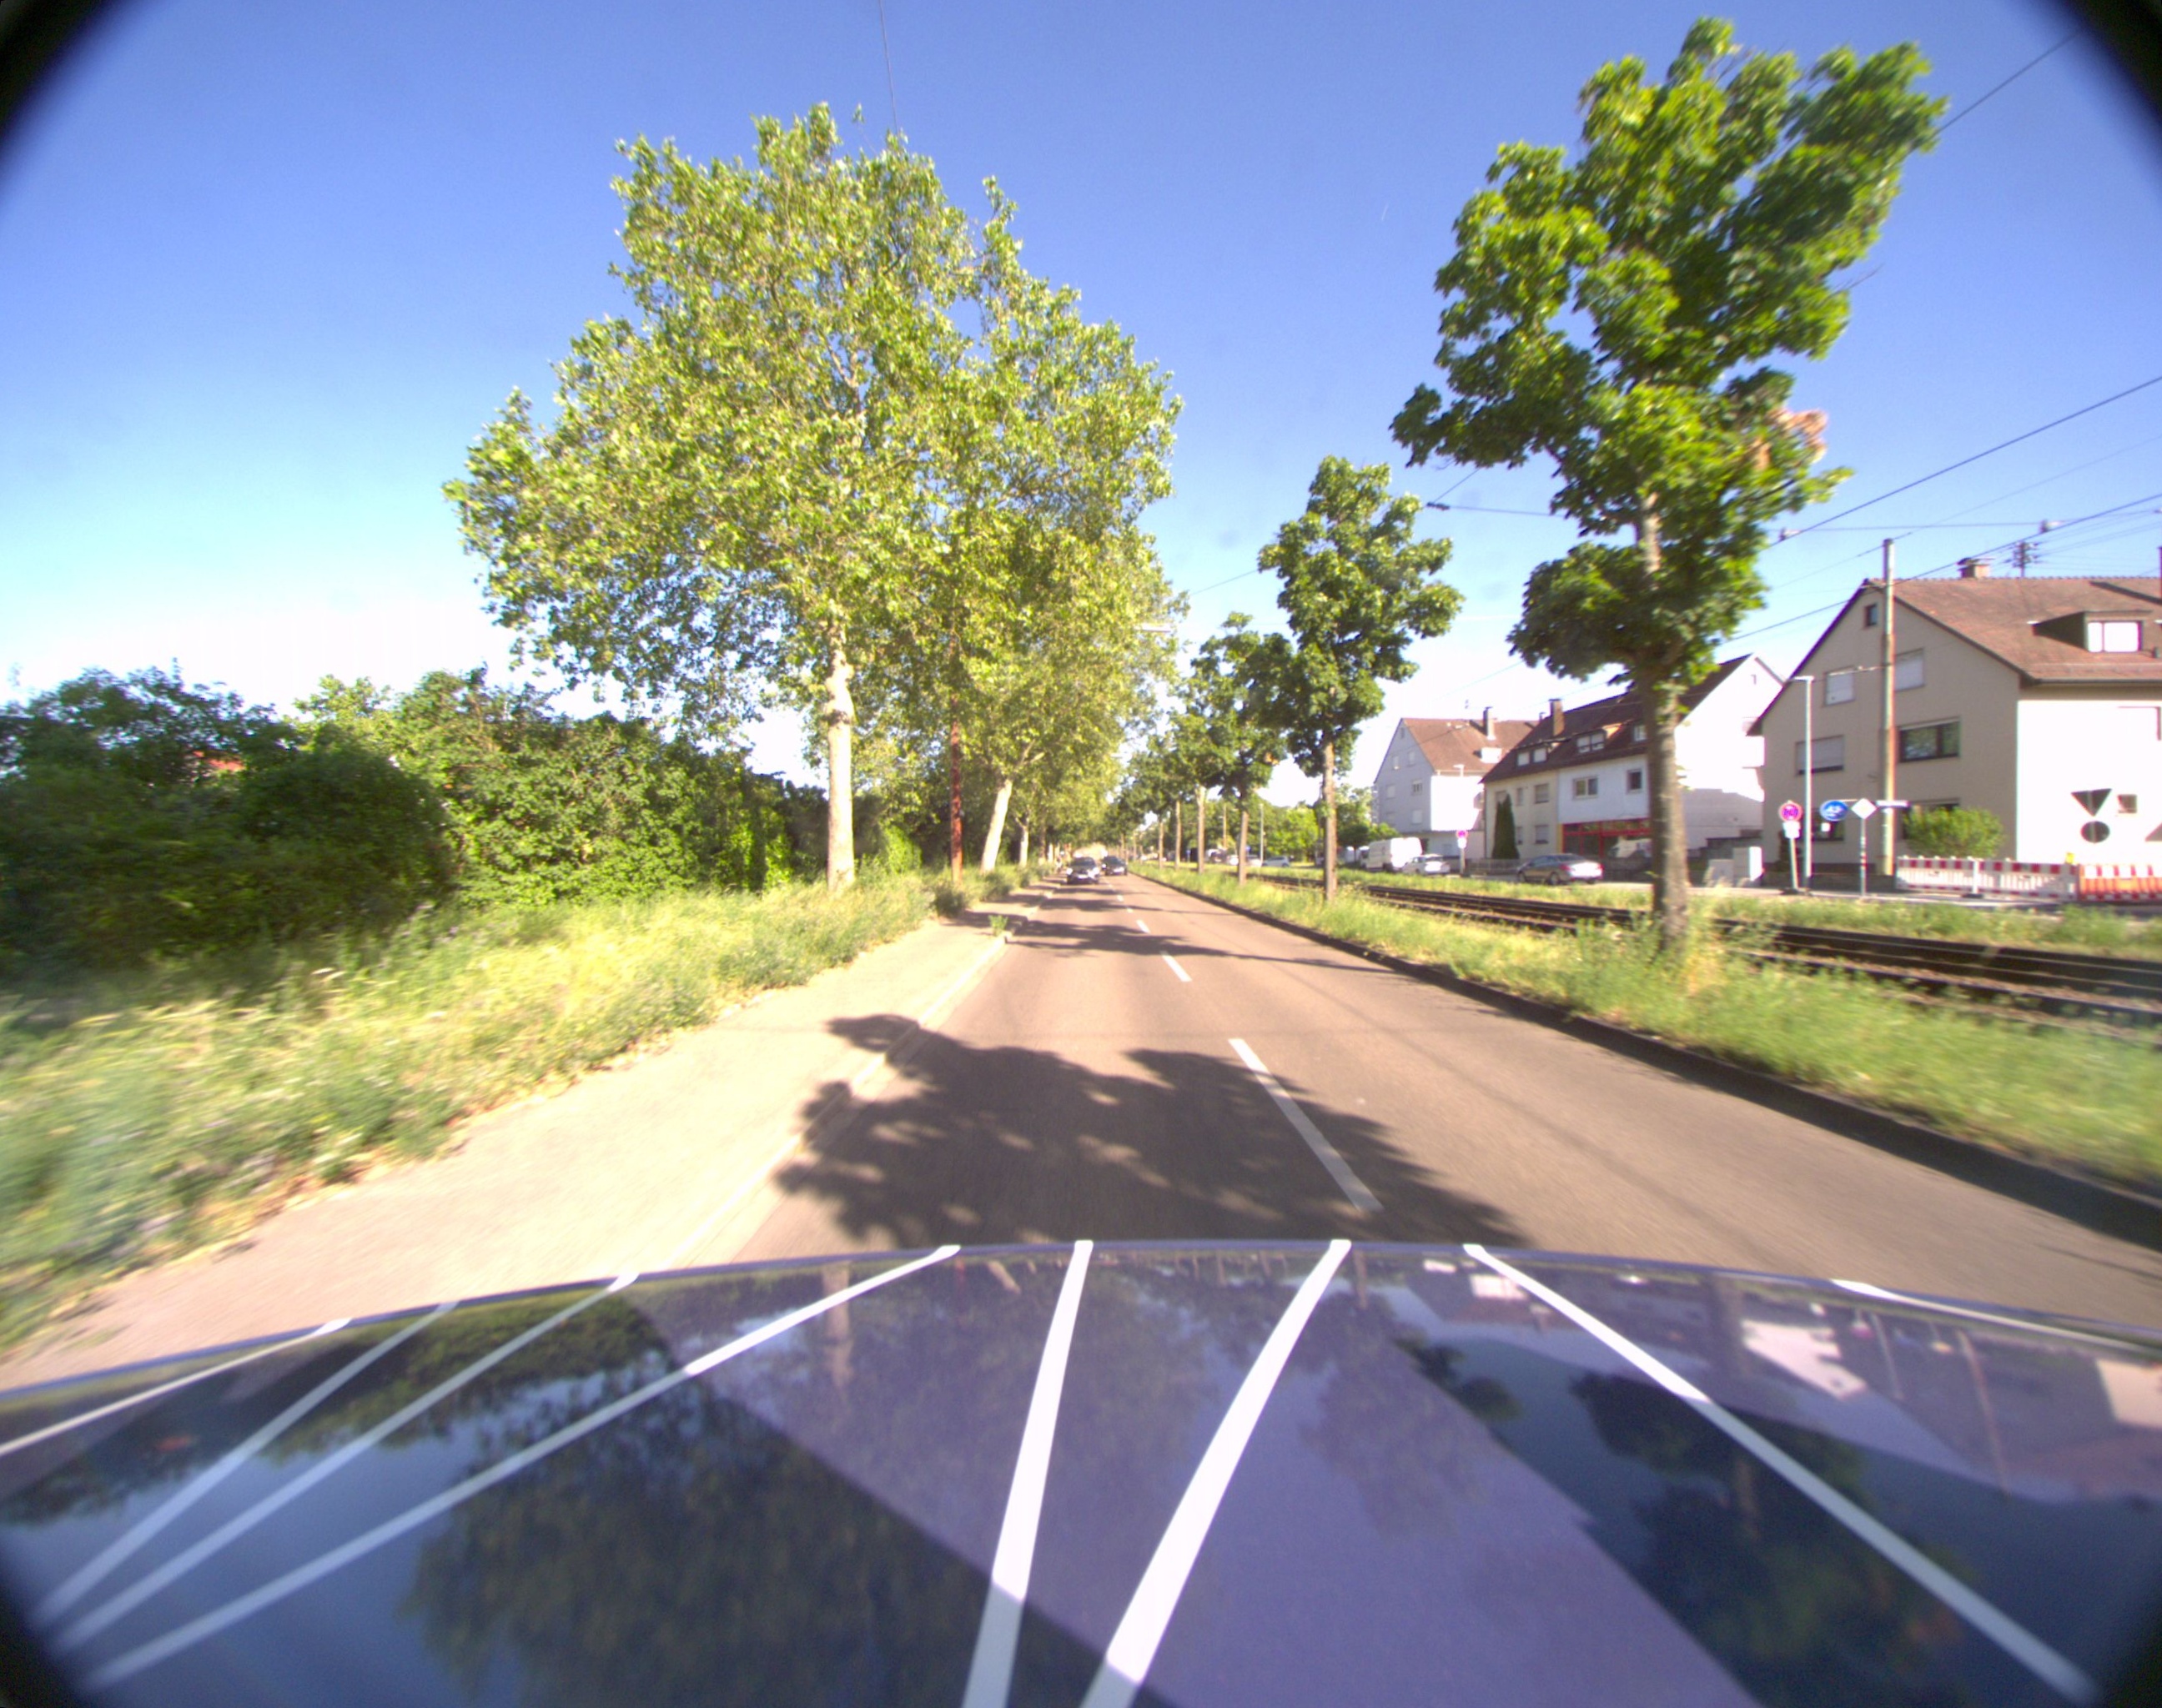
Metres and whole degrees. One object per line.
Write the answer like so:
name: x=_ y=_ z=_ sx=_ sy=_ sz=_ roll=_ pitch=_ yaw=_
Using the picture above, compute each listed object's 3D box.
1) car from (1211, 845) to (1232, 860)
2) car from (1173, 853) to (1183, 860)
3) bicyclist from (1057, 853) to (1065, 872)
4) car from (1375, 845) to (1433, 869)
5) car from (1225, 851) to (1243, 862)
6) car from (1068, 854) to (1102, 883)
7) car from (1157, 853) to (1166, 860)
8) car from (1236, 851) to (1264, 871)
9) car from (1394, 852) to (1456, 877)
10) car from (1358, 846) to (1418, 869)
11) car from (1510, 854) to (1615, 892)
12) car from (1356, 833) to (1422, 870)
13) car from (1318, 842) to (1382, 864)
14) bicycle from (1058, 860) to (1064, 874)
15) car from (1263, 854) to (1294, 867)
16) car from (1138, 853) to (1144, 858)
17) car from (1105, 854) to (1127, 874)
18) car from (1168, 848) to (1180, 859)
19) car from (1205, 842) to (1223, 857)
car: x=23.240 y=-0.214 z=125.809 sx=2.188 sy=2.362 sz=6.464 roll=-2 pitch=1 yaw=1
car: x=23.422 y=0.528 z=183.721 sx=1.626 sy=1.613 sz=4.532 roll=-2 pitch=1 yaw=0
bicyclist: x=-1.671 y=0.691 z=63.248 sx=0.615 sy=1.619 sz=0.909 roll=-1 pitch=1 yaw=1
car: x=27.722 y=0.285 z=65.274 sx=4.151 sy=1.941 sz=1.998 roll=-1 pitch=0 yaw=-10
car: x=22.608 y=0.367 z=112.536 sx=1.827 sy=1.598 sz=4.773 roll=-2 pitch=1 yaw=1
car: x=0.198 y=0.810 z=43.394 sx=1.808 sy=1.478 sz=3.546 roll=-2 pitch=1 yaw=0
car: x=18.478 y=0.539 z=174.715 sx=1.680 sy=1.401 sz=4.000 roll=-1 pitch=0 yaw=1
car: x=17.321 y=0.676 z=77.952 sx=1.920 sy=1.872 sz=4.523 roll=-2 pitch=1 yaw=2
car: x=21.961 y=0.648 z=48.704 sx=1.829 sy=1.404 sz=4.657 roll=-2 pitch=1 yaw=0
car: x=27.426 y=0.321 z=67.883 sx=4.633 sy=1.934 sz=1.998 roll=-1 pitch=0 yaw=-10
car: x=21.850 y=0.819 z=34.725 sx=1.998 sy=1.572 sz=4.498 roll=-2 pitch=0 yaw=1
car: x=21.976 y=-0.212 z=54.512 sx=1.998 sy=2.445 sz=6.674 roll=-2 pitch=1 yaw=0
car: x=33.390 y=-0.089 z=94.296 sx=7.086 sy=2.492 sz=2.329 roll=-2 pitch=0 yaw=-4
bicycle: x=-1.665 y=1.059 z=63.324 sx=0.441 sy=1.146 sz=1.823 roll=-1 pitch=0 yaw=1
car: x=24.187 y=0.804 z=92.967 sx=3.619 sy=1.469 sz=1.752 roll=-1 pitch=0 yaw=13
car: x=19.697 y=0.385 z=249.291 sx=1.998 sy=1.522 sz=3.751 roll=-1 pitch=0 yaw=2
car: x=2.831 y=0.769 z=61.733 sx=1.714 sy=1.478 sz=3.547 roll=-2 pitch=1 yaw=2
car: x=23.456 y=-0.044 z=191.214 sx=2.231 sy=2.565 sz=6.799 roll=-2 pitch=0 yaw=1
car: x=23.439 y=-0.837 z=133.917 sx=2.007 sy=2.482 sz=6.136 roll=-2 pitch=1 yaw=0
